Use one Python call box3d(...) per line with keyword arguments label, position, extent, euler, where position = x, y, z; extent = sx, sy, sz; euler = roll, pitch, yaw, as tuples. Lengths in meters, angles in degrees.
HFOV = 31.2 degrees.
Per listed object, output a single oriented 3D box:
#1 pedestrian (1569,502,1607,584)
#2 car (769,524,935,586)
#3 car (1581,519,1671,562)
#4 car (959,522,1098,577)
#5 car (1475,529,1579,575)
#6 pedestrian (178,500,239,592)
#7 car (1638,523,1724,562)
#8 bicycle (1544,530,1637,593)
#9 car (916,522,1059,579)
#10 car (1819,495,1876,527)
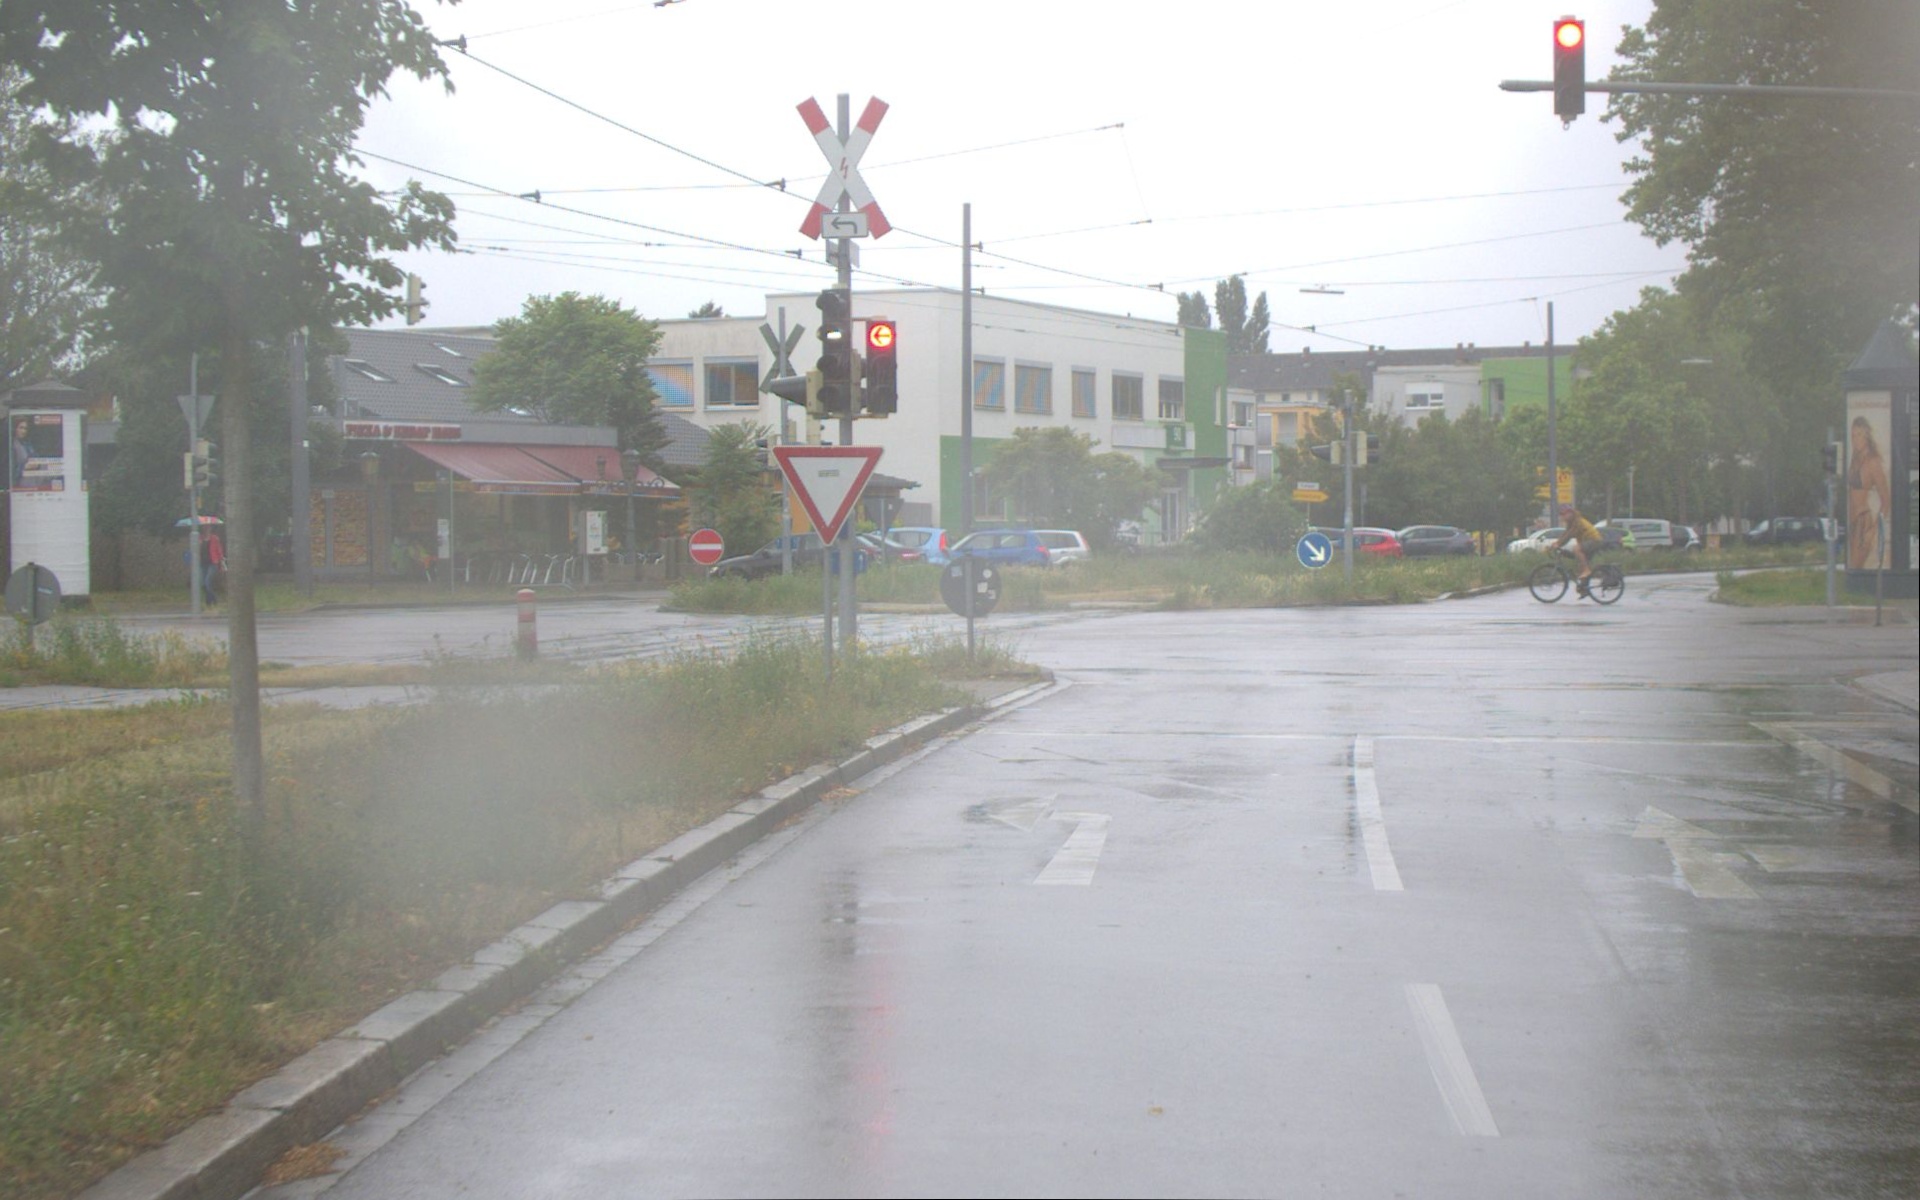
box3d(label="pedestrian", position=(11.309, -1.026, 61.894), extent=(0.576, 1.470, 0.500), euler=(-1, 1, 1))
box3d(label="car", position=(-2.598, -1.091, 83.133), extent=(3.751, 1.437, 1.762), euler=(-1, 1, 8))
box3d(label="car", position=(31.589, -2.814, 162.966), extent=(4.137, 1.969, 1.673), euler=(-1, 1, 12))
box3d(label="car", position=(1.870, -1.400, 94.435), extent=(3.750, 1.437, 1.763), euler=(-1, 1, -1))
box3d(label="car", position=(24.030, -2.042, 145.771), extent=(4.135, 1.853, 1.673), euler=(-1, 1, 1))
box3d(label="pedestrian", position=(-14.596, -1.051, 66.780), extent=(0.801, 1.757, 0.908), euler=(-2, 1, -39))
box3d(label="car", position=(36.033, -2.888, 171.781), extent=(4.137, 1.853, 1.673), euler=(-1, 1, 12))
box3d(label="bicycle", position=(11.349, -0.697, 61.904), extent=(1.561, 1.098, 0.500), euler=(-1, 1, 1))
box3d(label="car", position=(0.713, -1.309, 91.250), extent=(3.750, 1.437, 1.763), euler=(-1, 1, -1))
box3d(label="car", position=(58.846, -5.891, 228.021), extent=(3.447, 2.007, 1.806), euler=(-1, 1, 22))
